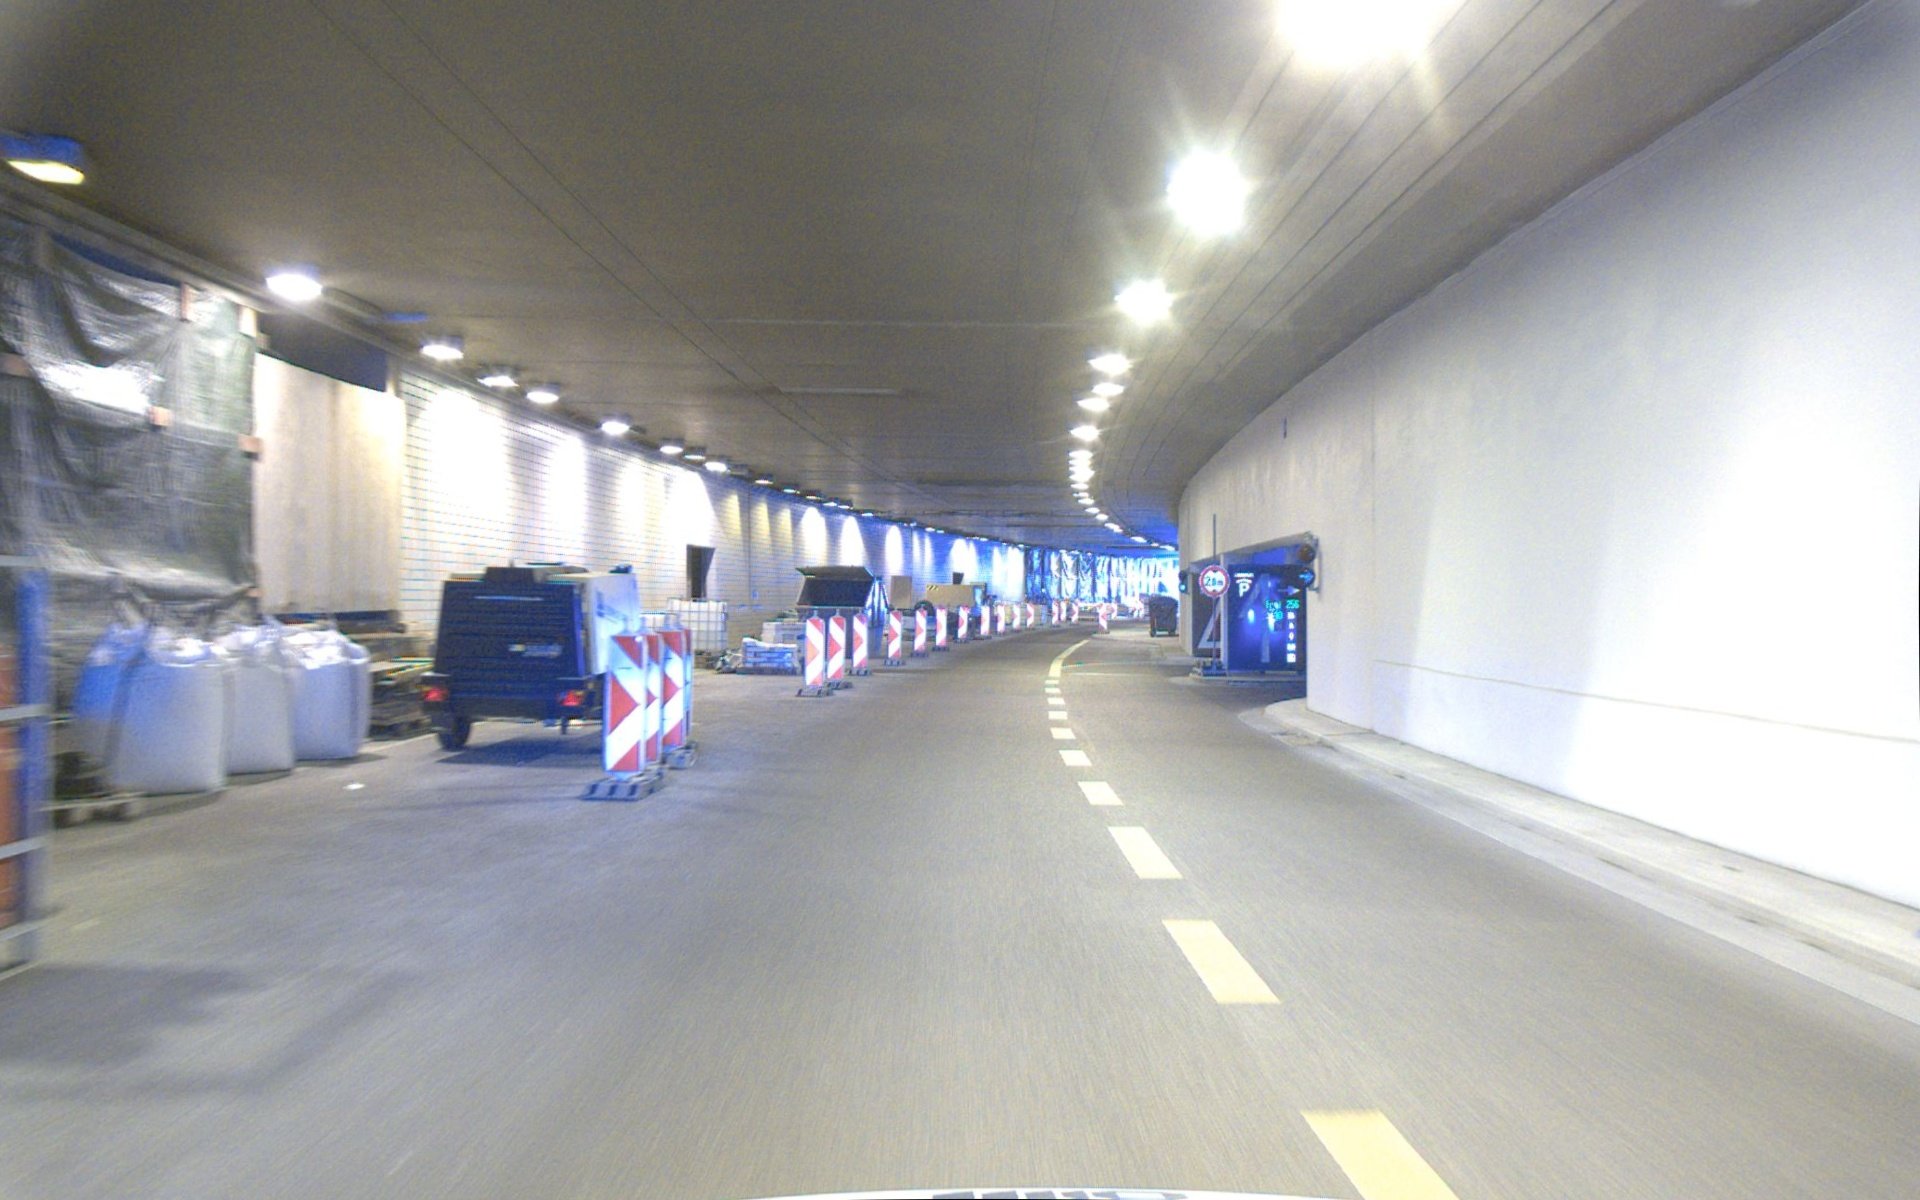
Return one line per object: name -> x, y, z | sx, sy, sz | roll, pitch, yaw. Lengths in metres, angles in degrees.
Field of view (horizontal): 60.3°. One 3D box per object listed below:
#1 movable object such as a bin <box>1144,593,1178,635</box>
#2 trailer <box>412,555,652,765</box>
movable object such as a bin -> 7.396, 0.498, 60.871 | 1.169, 1.486, 1.606 | -2, 0, 8
trailer -> -4.054, 0.539, 16.093 | 1.548, 1.829, 2.939 | 1, 0, 0
